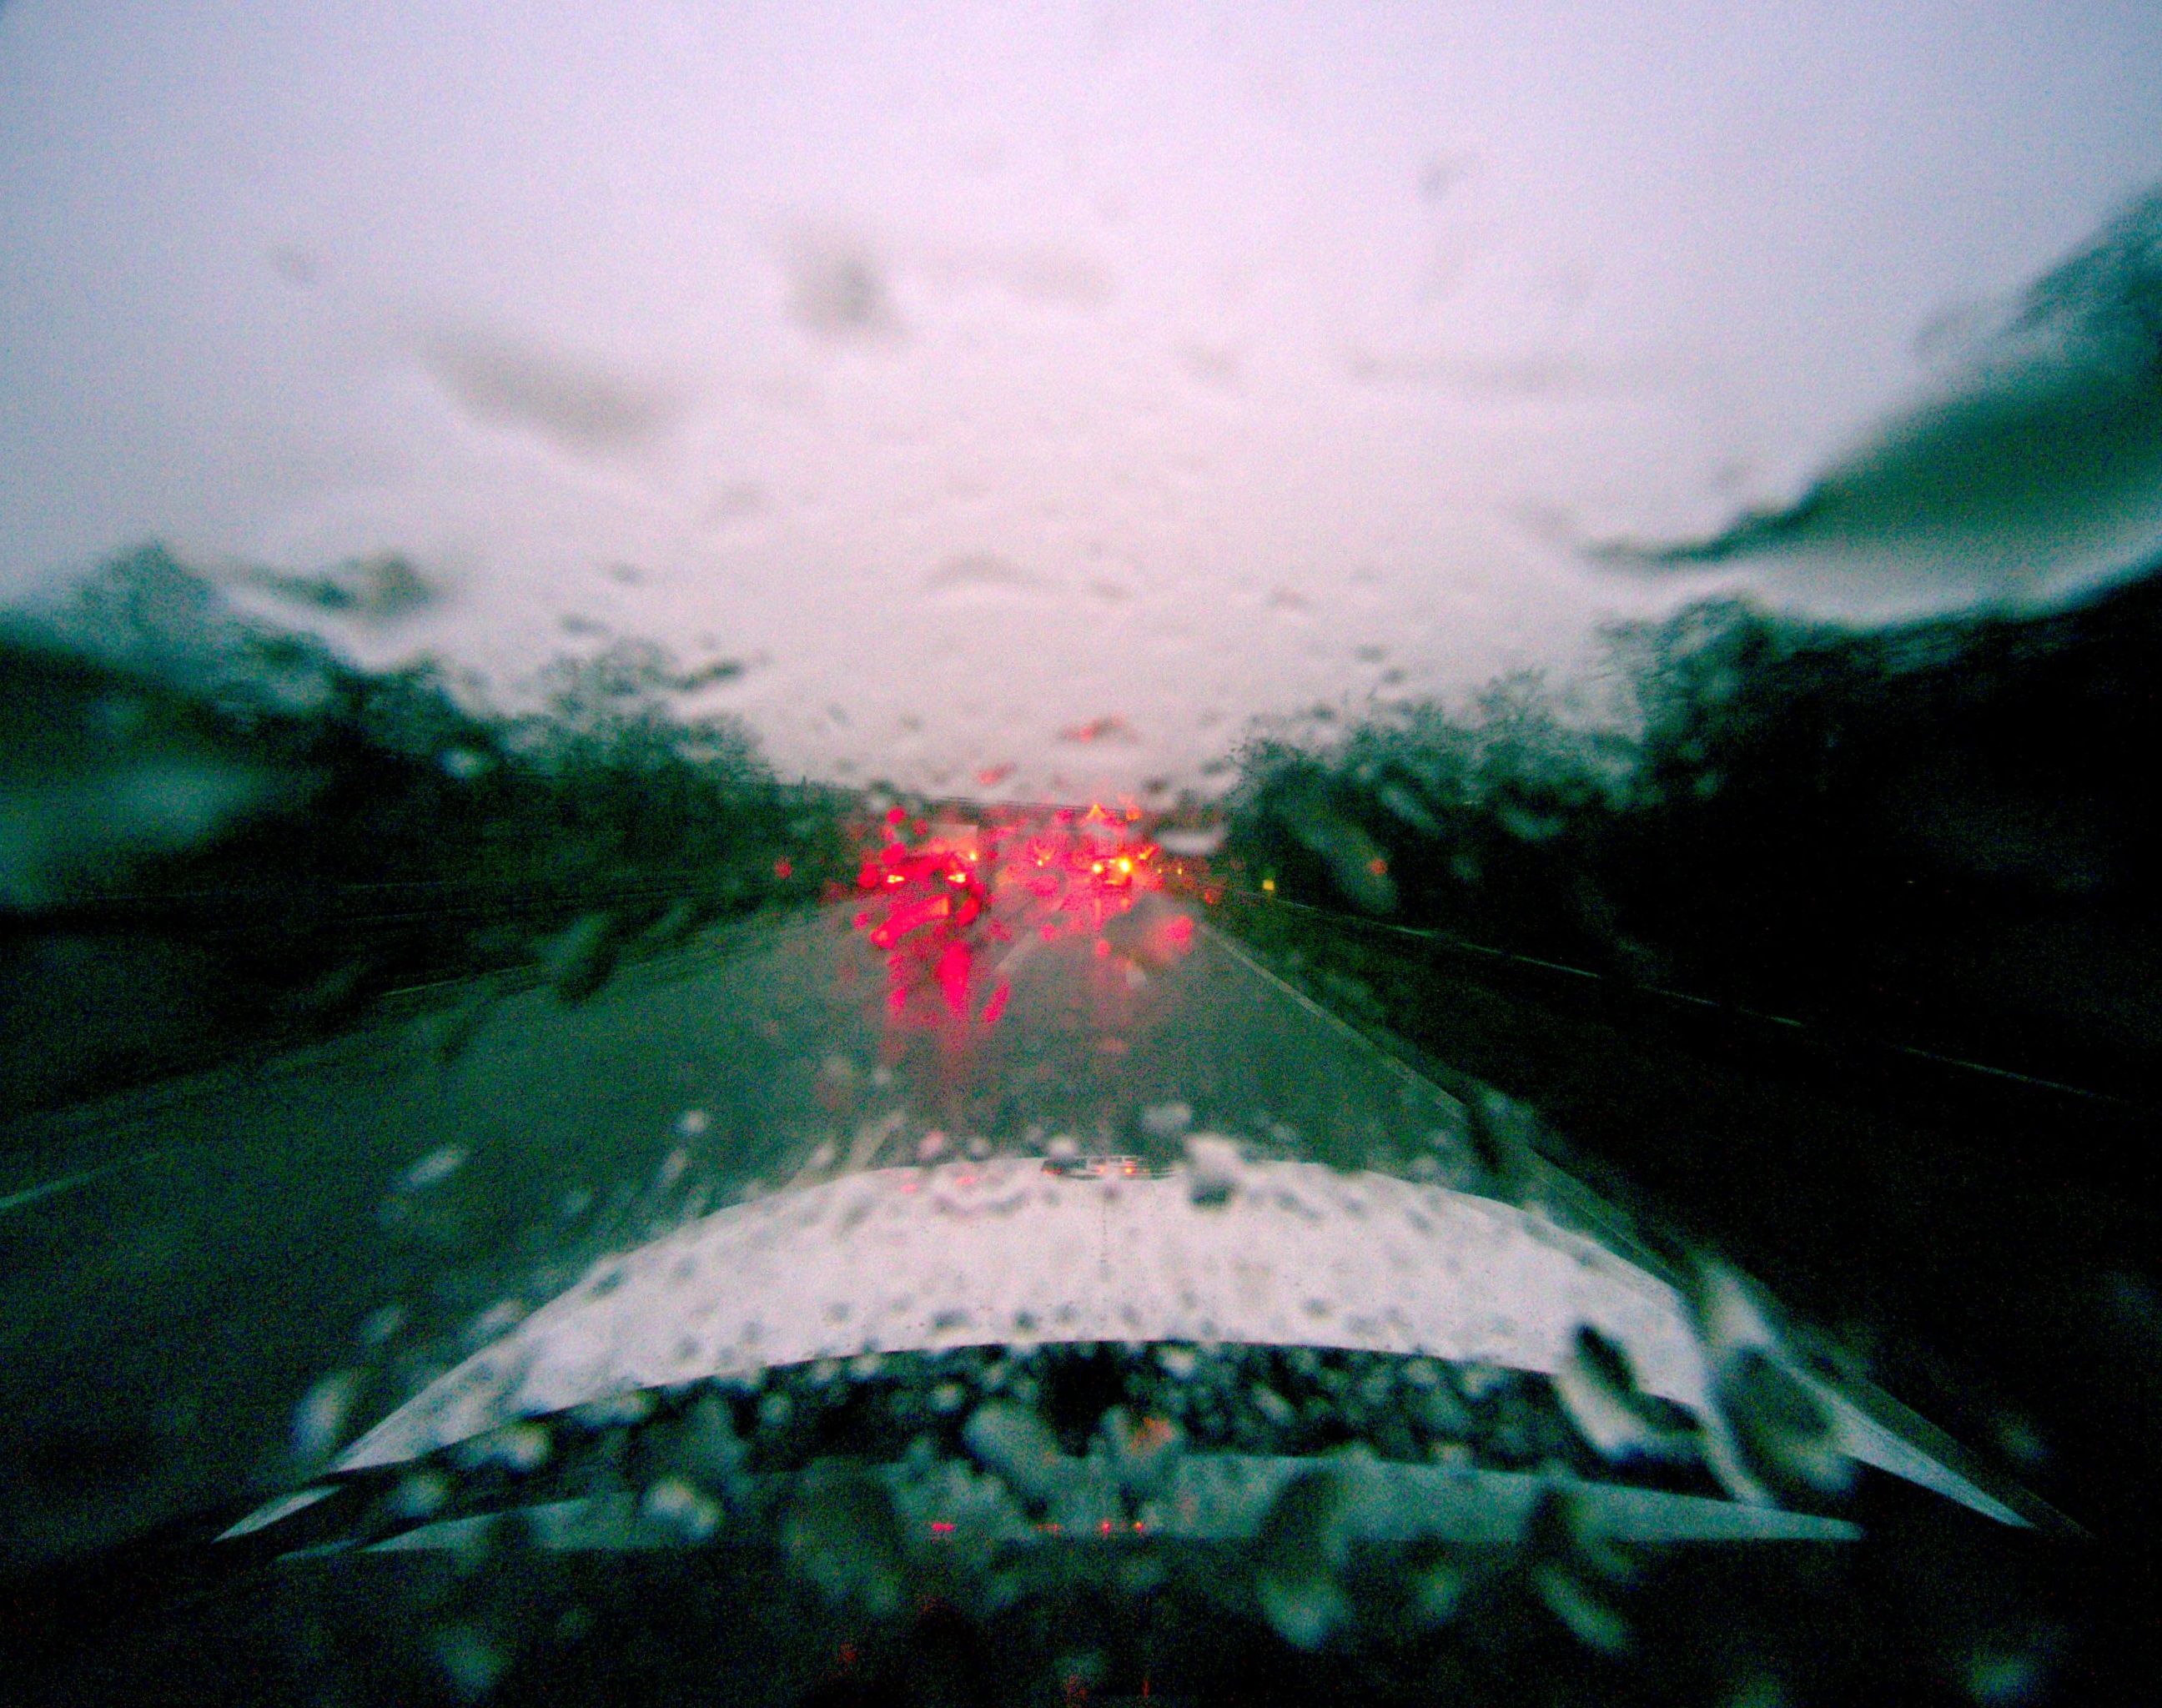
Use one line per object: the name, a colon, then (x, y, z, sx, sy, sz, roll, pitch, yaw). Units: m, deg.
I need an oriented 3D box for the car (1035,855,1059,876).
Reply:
car: (-3.024, 1.012, 72.265, 1.872, 1.617, 3.875, 1, 2, 1)

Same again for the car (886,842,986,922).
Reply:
car: (-3.304, 0.590, 19.250, 1.991, 1.665, 3.992, -1, 0, -6)

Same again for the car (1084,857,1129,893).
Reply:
car: (1.174, 0.884, 35.495, 1.724, 1.429, 3.770, -2, 0, 4)

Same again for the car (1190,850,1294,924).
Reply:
car: (3.428, 0.685, 18.020, 1.676, 1.418, 3.876, -1, -1, 3)
